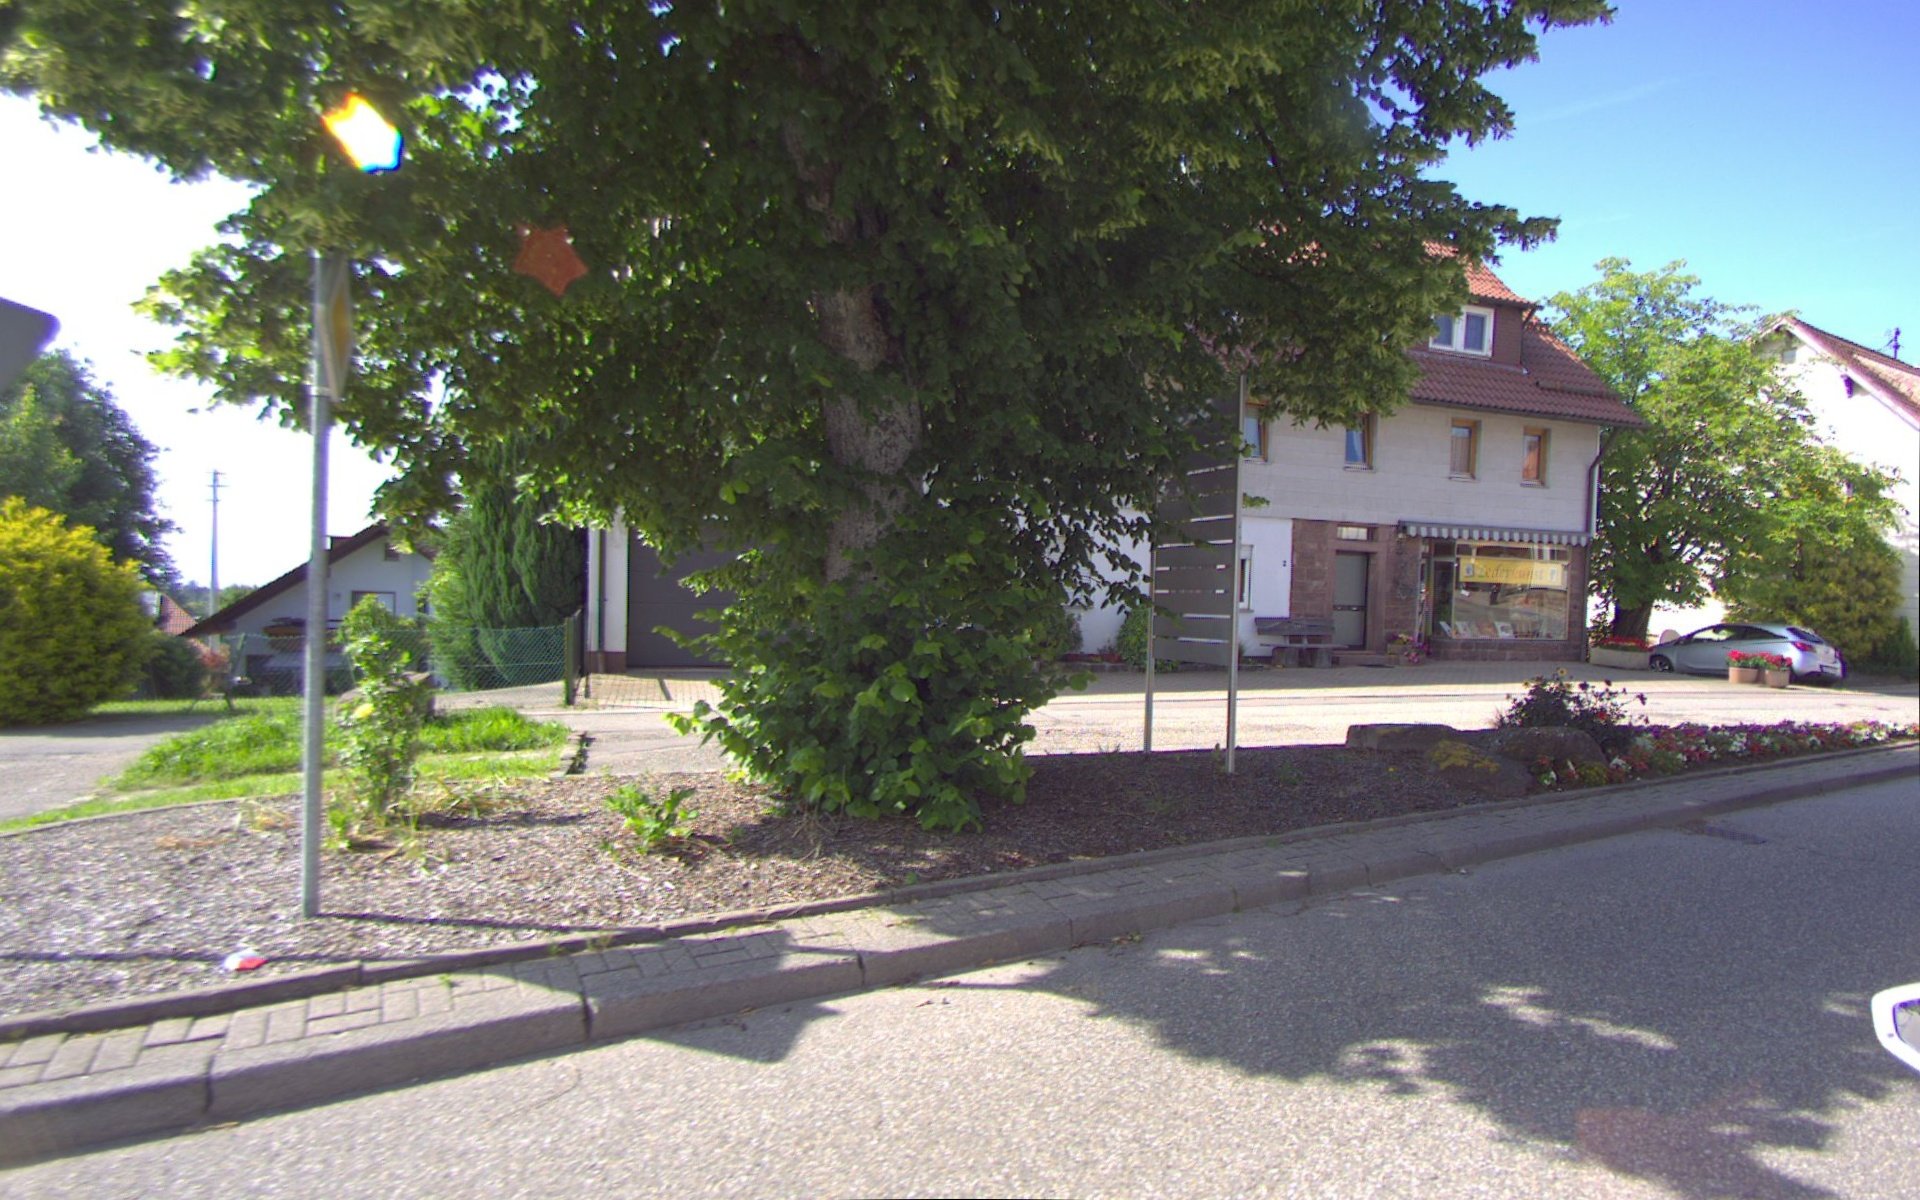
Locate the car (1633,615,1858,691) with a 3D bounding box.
[{"bbox_3d":[18.217,1.206,23.510,1.790,1.472,3.756,6,-3,-19],"label":"car"}]
